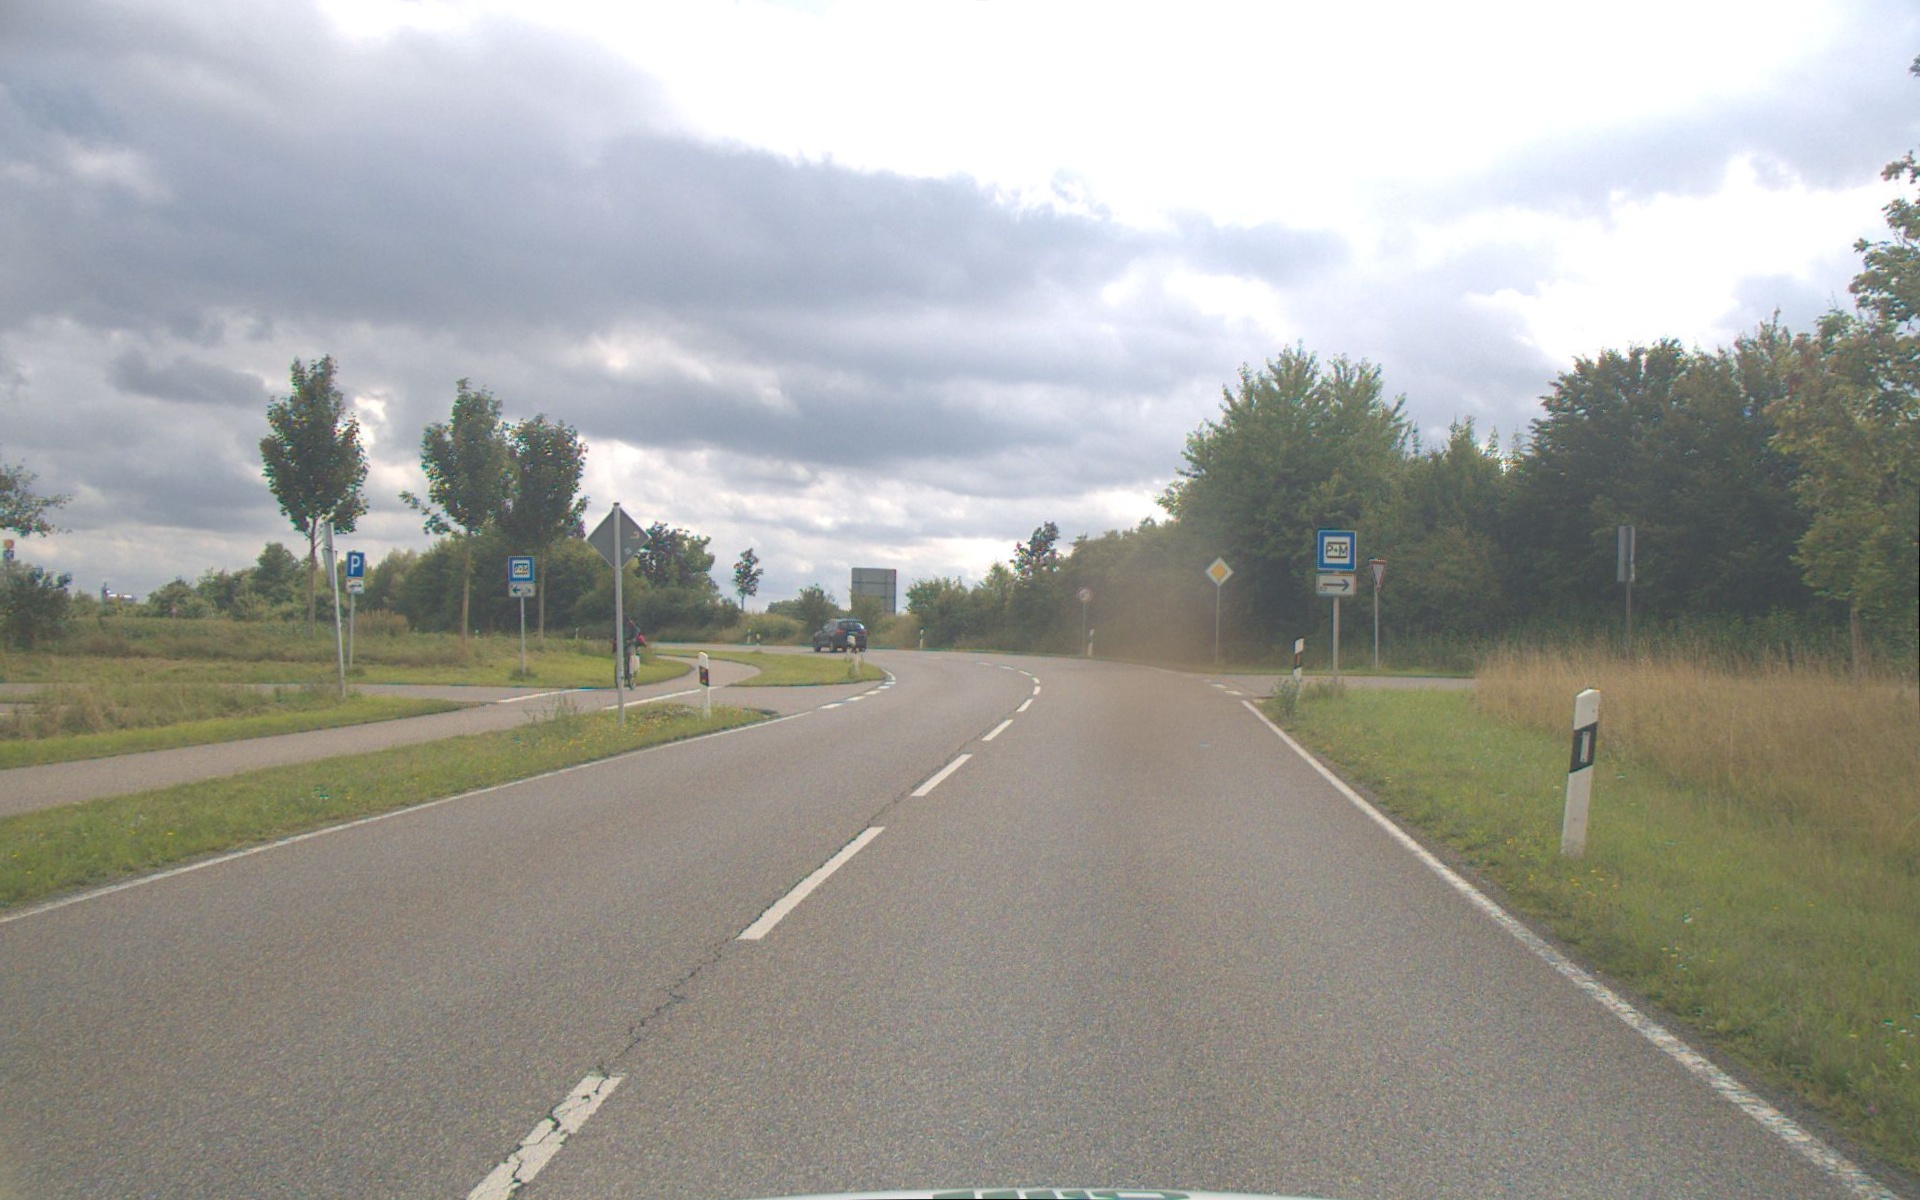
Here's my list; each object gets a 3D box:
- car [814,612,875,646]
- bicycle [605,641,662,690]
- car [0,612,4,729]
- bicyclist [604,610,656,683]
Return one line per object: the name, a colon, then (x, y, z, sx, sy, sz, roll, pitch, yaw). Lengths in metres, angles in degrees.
car: (-6.067, 1.509, 86.469, 1.883, 1.695, 3.967, 1, -1, -26)
bicycle: (-7.284, 1.446, 37.020, 0.622, 1.050, 2.192, 0, -1, 6)
car: (-15.388, 0.950, 22.034, 4.158, 1.623, 2.001, 0, -1, 4)
bicyclist: (-7.324, 1.032, 36.749, 0.813, 1.593, 1.056, 0, -1, 8)
